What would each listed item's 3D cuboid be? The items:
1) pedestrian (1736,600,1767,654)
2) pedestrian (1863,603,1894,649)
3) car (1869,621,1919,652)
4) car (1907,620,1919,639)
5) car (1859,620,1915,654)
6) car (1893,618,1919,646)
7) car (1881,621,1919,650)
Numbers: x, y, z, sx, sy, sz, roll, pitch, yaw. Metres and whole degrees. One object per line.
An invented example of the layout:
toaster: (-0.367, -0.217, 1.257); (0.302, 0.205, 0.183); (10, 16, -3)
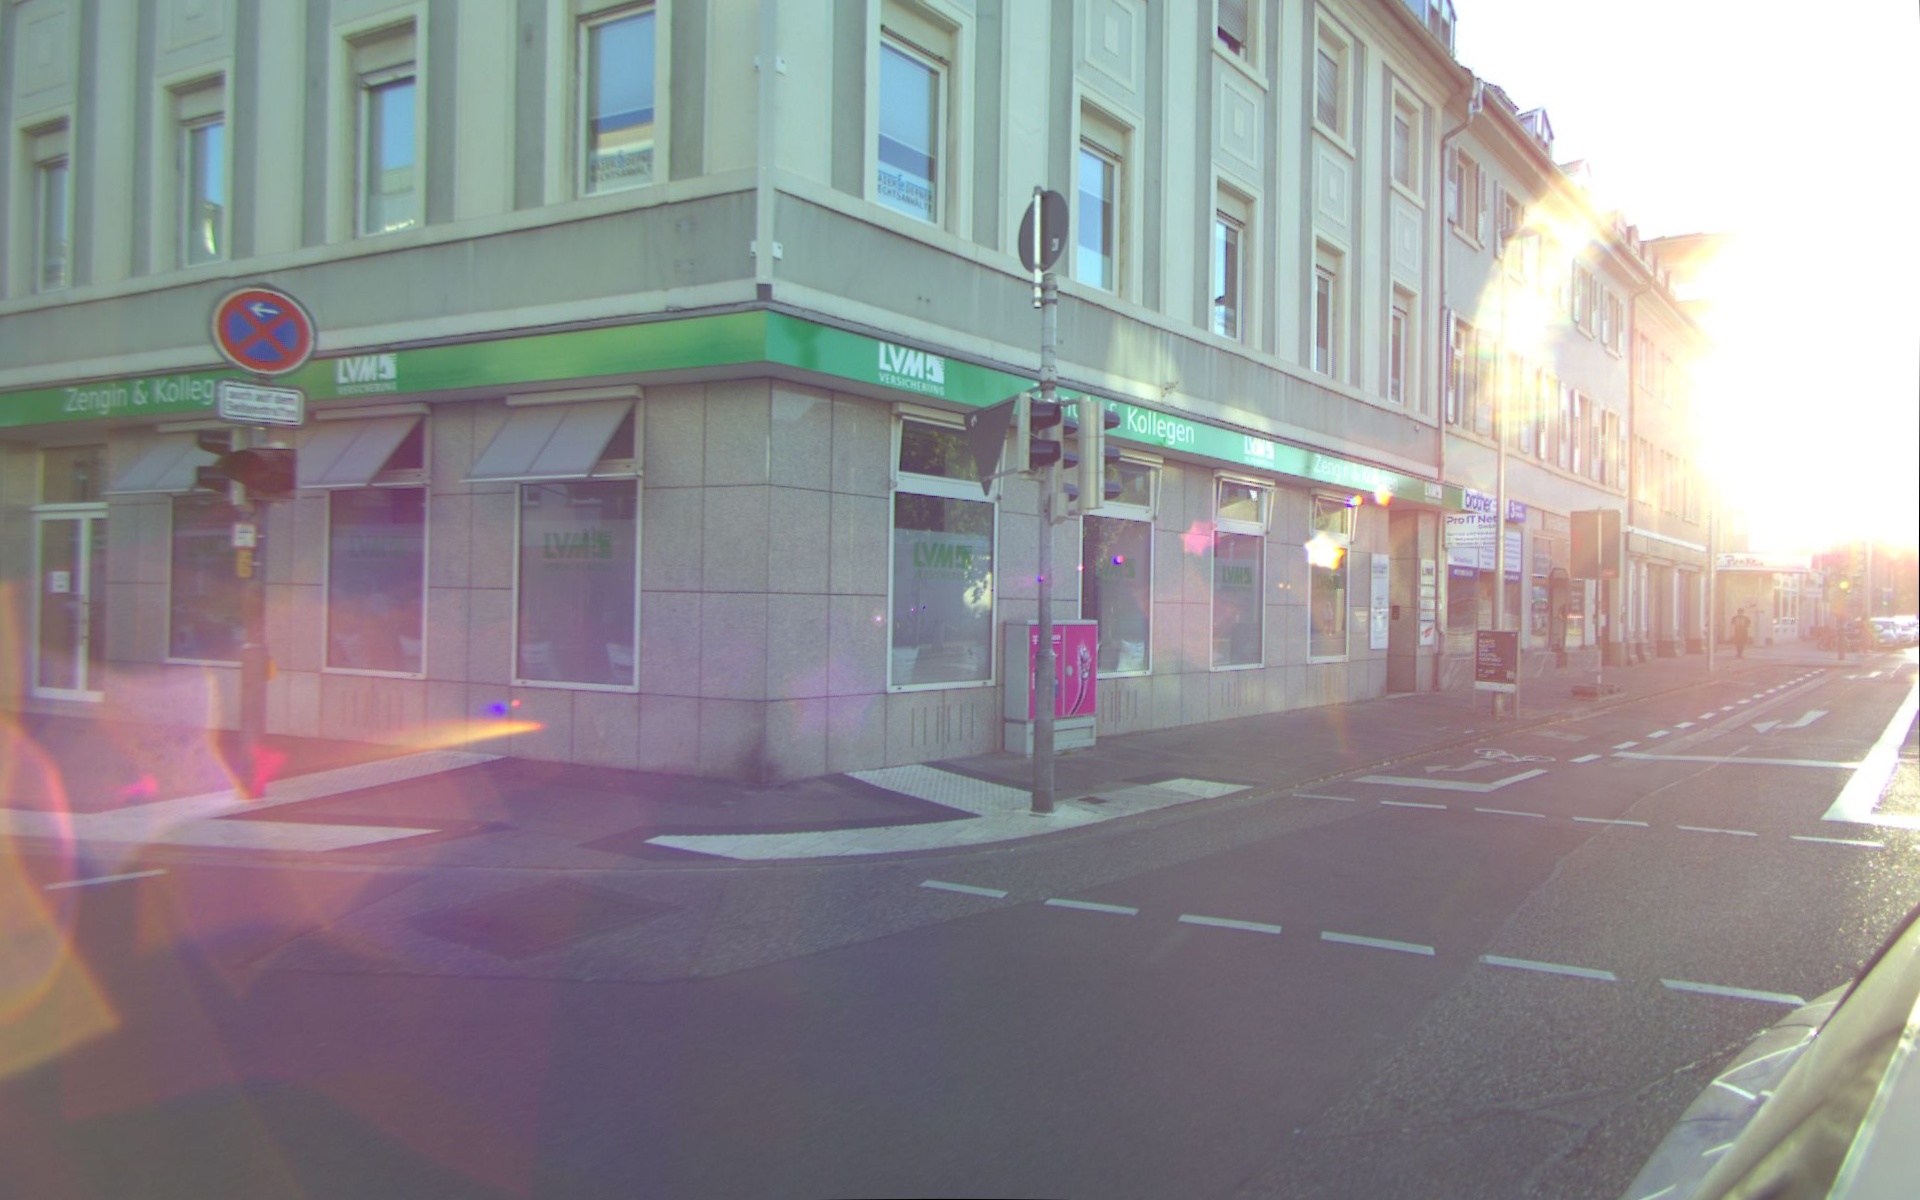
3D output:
pedestrian: (27.445, 0.919, 35.107); (0.667, 1.806, 0.714); (3, 2, 30)
pedestrian: (35.929, 1.008, 39.603); (0.840, 1.768, 0.689); (-1, -2, 45)
car: (51.224, 1.968, 55.417); (1.993, 1.567, 4.438); (-1, -1, 44)
car: (82.606, 2.538, 86.756); (1.993, 1.567, 4.438); (-1, -1, 44)
car: (46.827, 1.828, 51.080); (1.993, 1.567, 4.438); (-1, -1, 44)
car: (59.488, 1.964, 62.852); (4.434, 1.668, 1.995); (0, -1, -44)
car: (55.223, 2.036, 58.994); (4.434, 1.567, 1.995); (0, -1, -44)
